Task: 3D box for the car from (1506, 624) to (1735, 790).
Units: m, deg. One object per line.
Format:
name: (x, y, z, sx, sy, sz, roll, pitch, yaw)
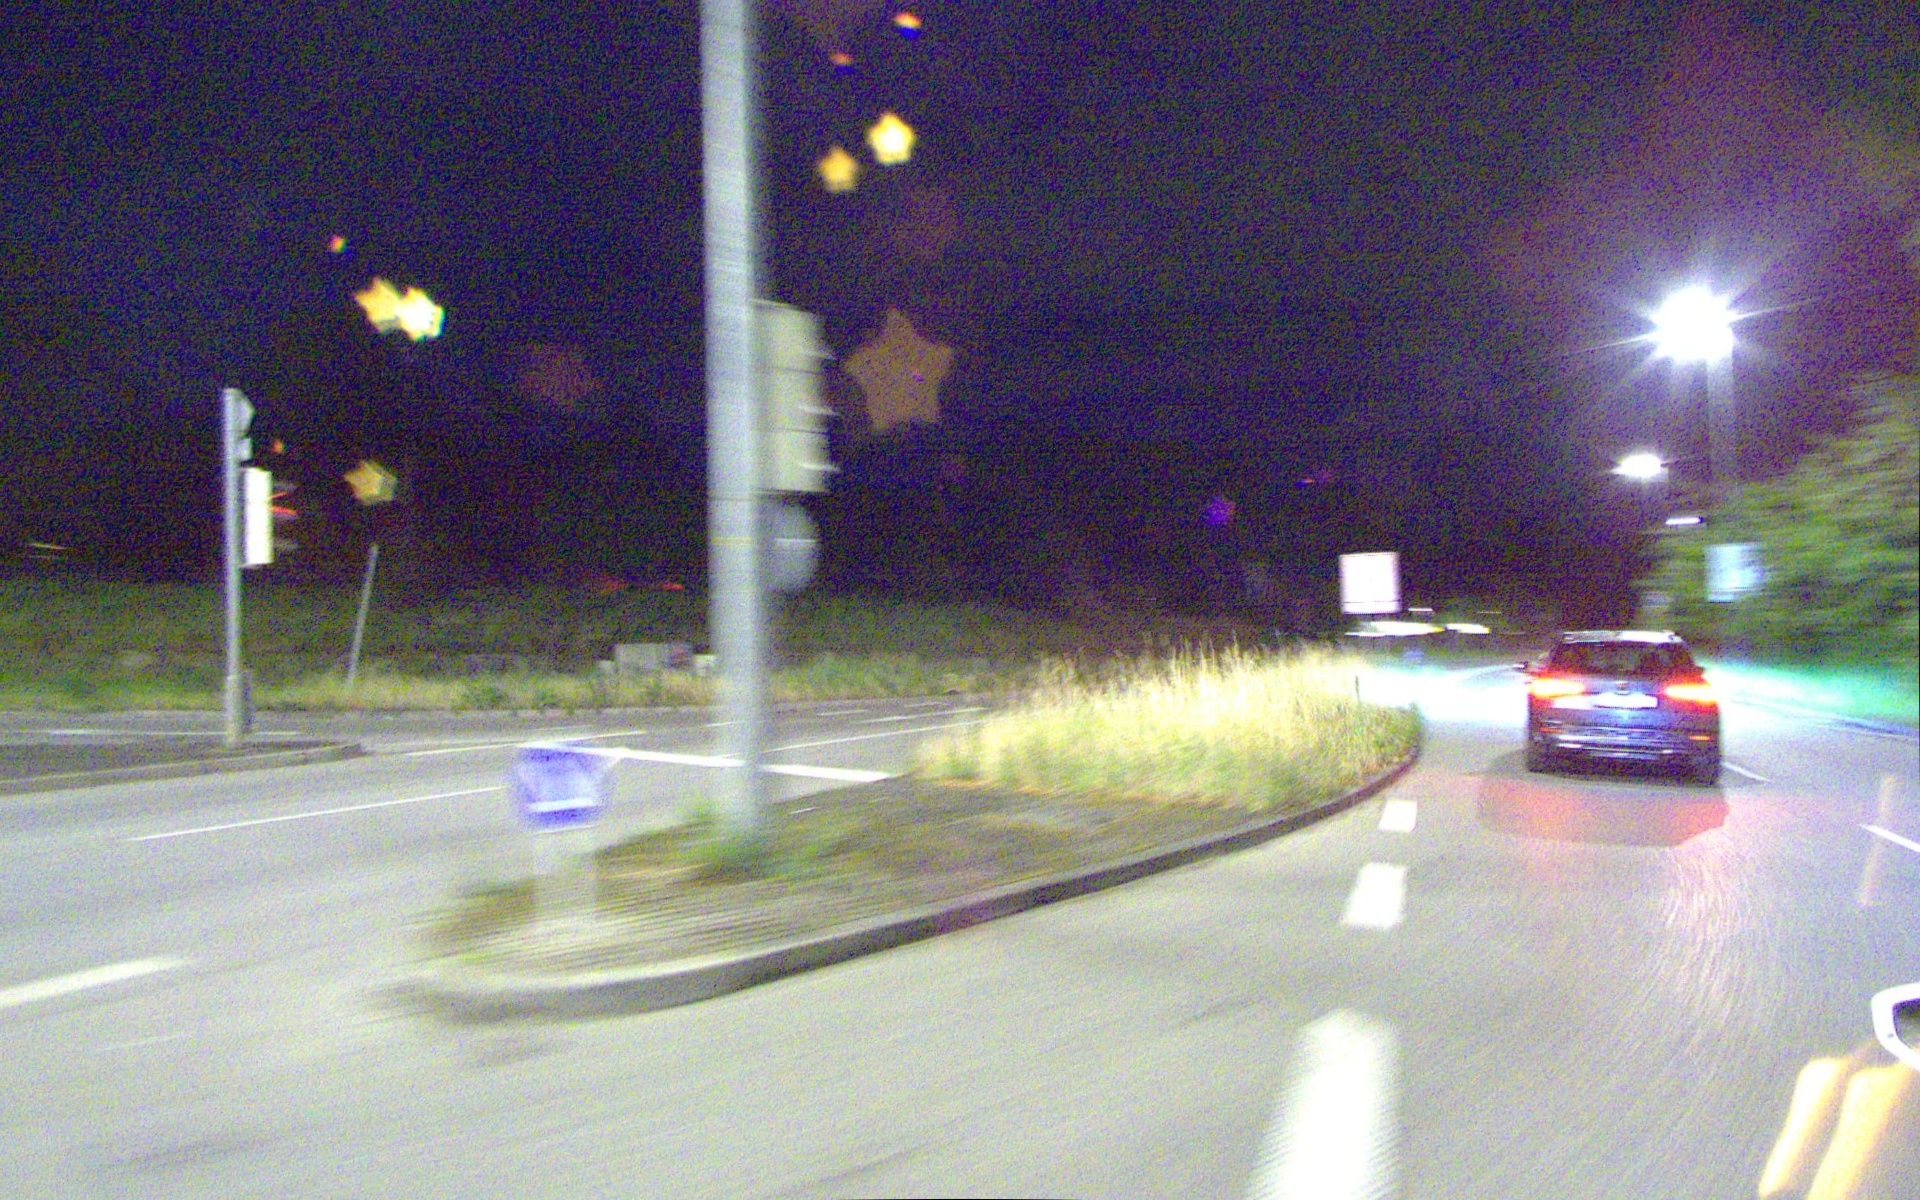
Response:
car: (7.630, 1.126, 11.990, 1.823, 1.603, 4.003, 0, -2, 27)
